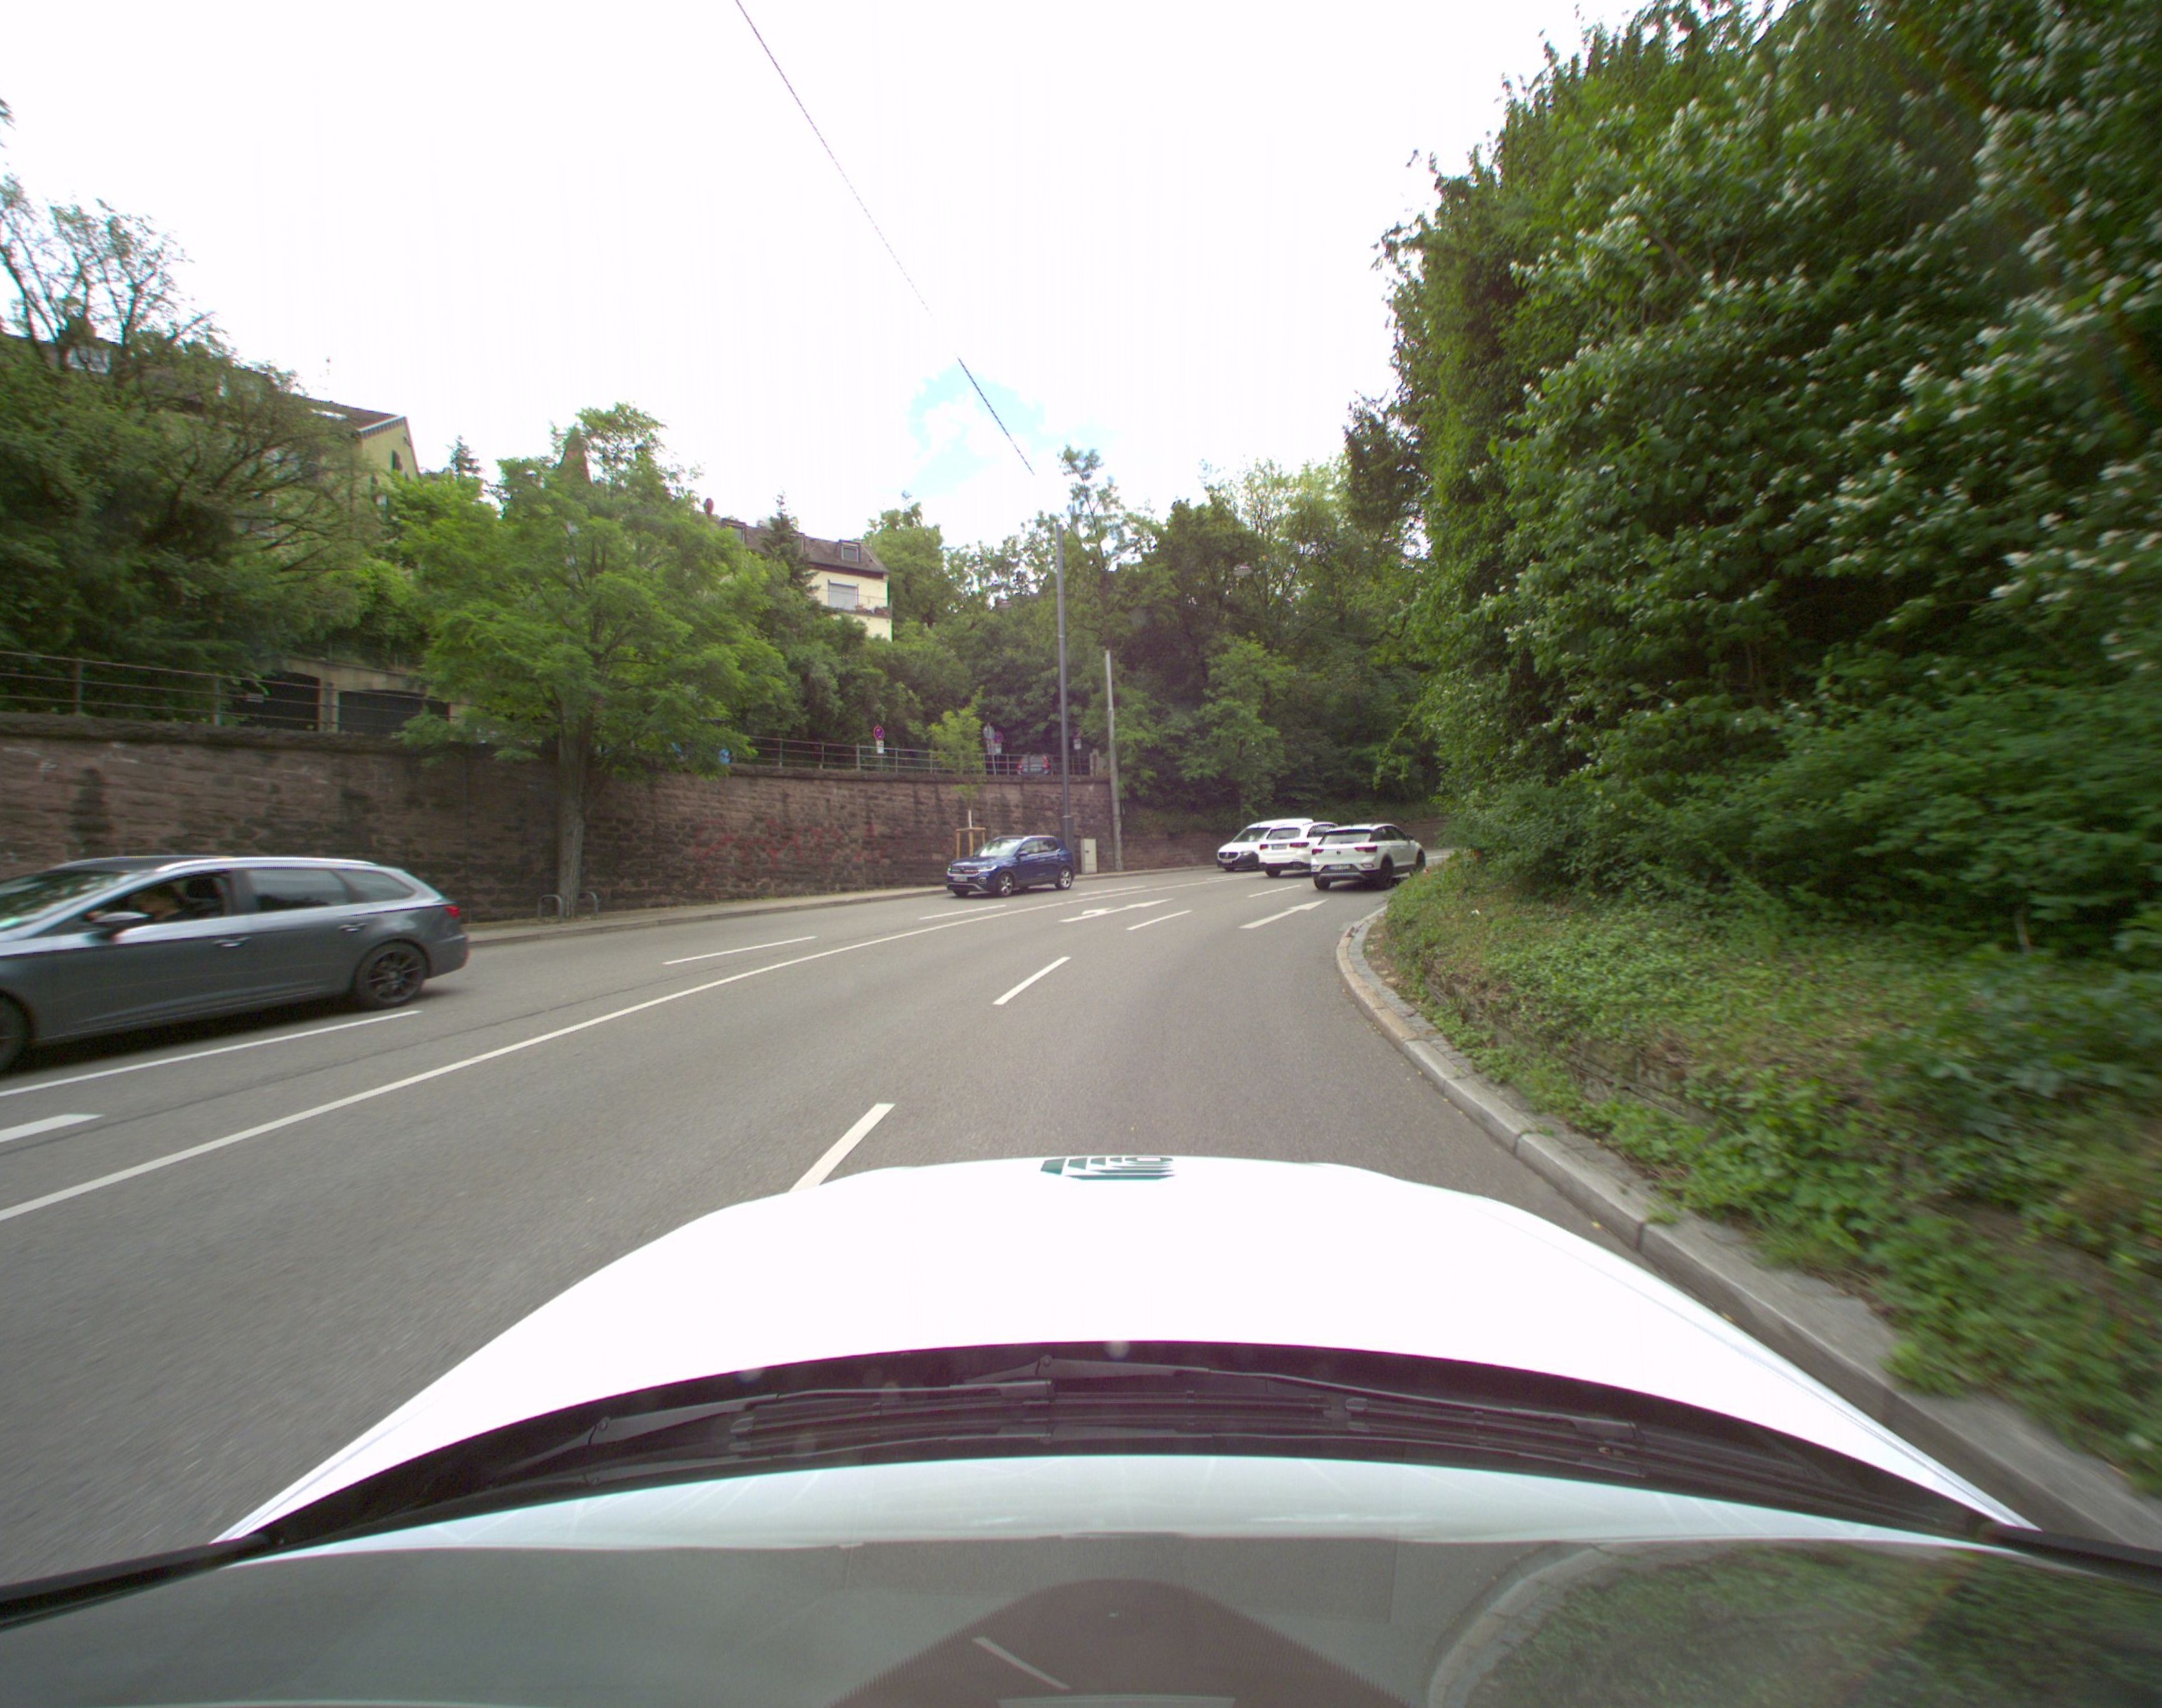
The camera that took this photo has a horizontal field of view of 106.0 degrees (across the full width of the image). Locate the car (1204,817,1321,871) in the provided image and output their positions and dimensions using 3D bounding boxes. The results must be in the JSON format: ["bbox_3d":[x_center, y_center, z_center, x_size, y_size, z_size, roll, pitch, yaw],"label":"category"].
[{"bbox_3d":[6.899,-0.429,30.680,4.694,1.763,1.806,-4,3,-40],"label":"car"}]

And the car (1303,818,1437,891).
[{"bbox_3d":[7.442,-0.045,20.732,1.737,1.552,4.366,-1,3,40],"label":"car"}]

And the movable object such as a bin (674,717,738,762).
[{"bbox_3d":[-13.534,-4.114,29.389,1.236,1.356,1.615,-4,0,36],"label":"movable object such as a bin"}]

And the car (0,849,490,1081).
[{"bbox_3d":[-7.546,0.707,6.584,1.771,1.466,4.417,0,1,11],"label":"car"}]

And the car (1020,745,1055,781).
[{"bbox_3d":[-2.204,-4.621,41.796,1.673,1.379,3.733,-1,-1,-1],"label":"car"}]

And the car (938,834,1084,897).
[{"bbox_3d":[-1.829,0.243,22.558,1.709,1.527,4.229,0,2,35],"label":"car"}]

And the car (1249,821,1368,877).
[{"bbox_3d":[7.430,-0.216,26.262,1.841,1.605,4.701,-1,1,40],"label":"car"}]
